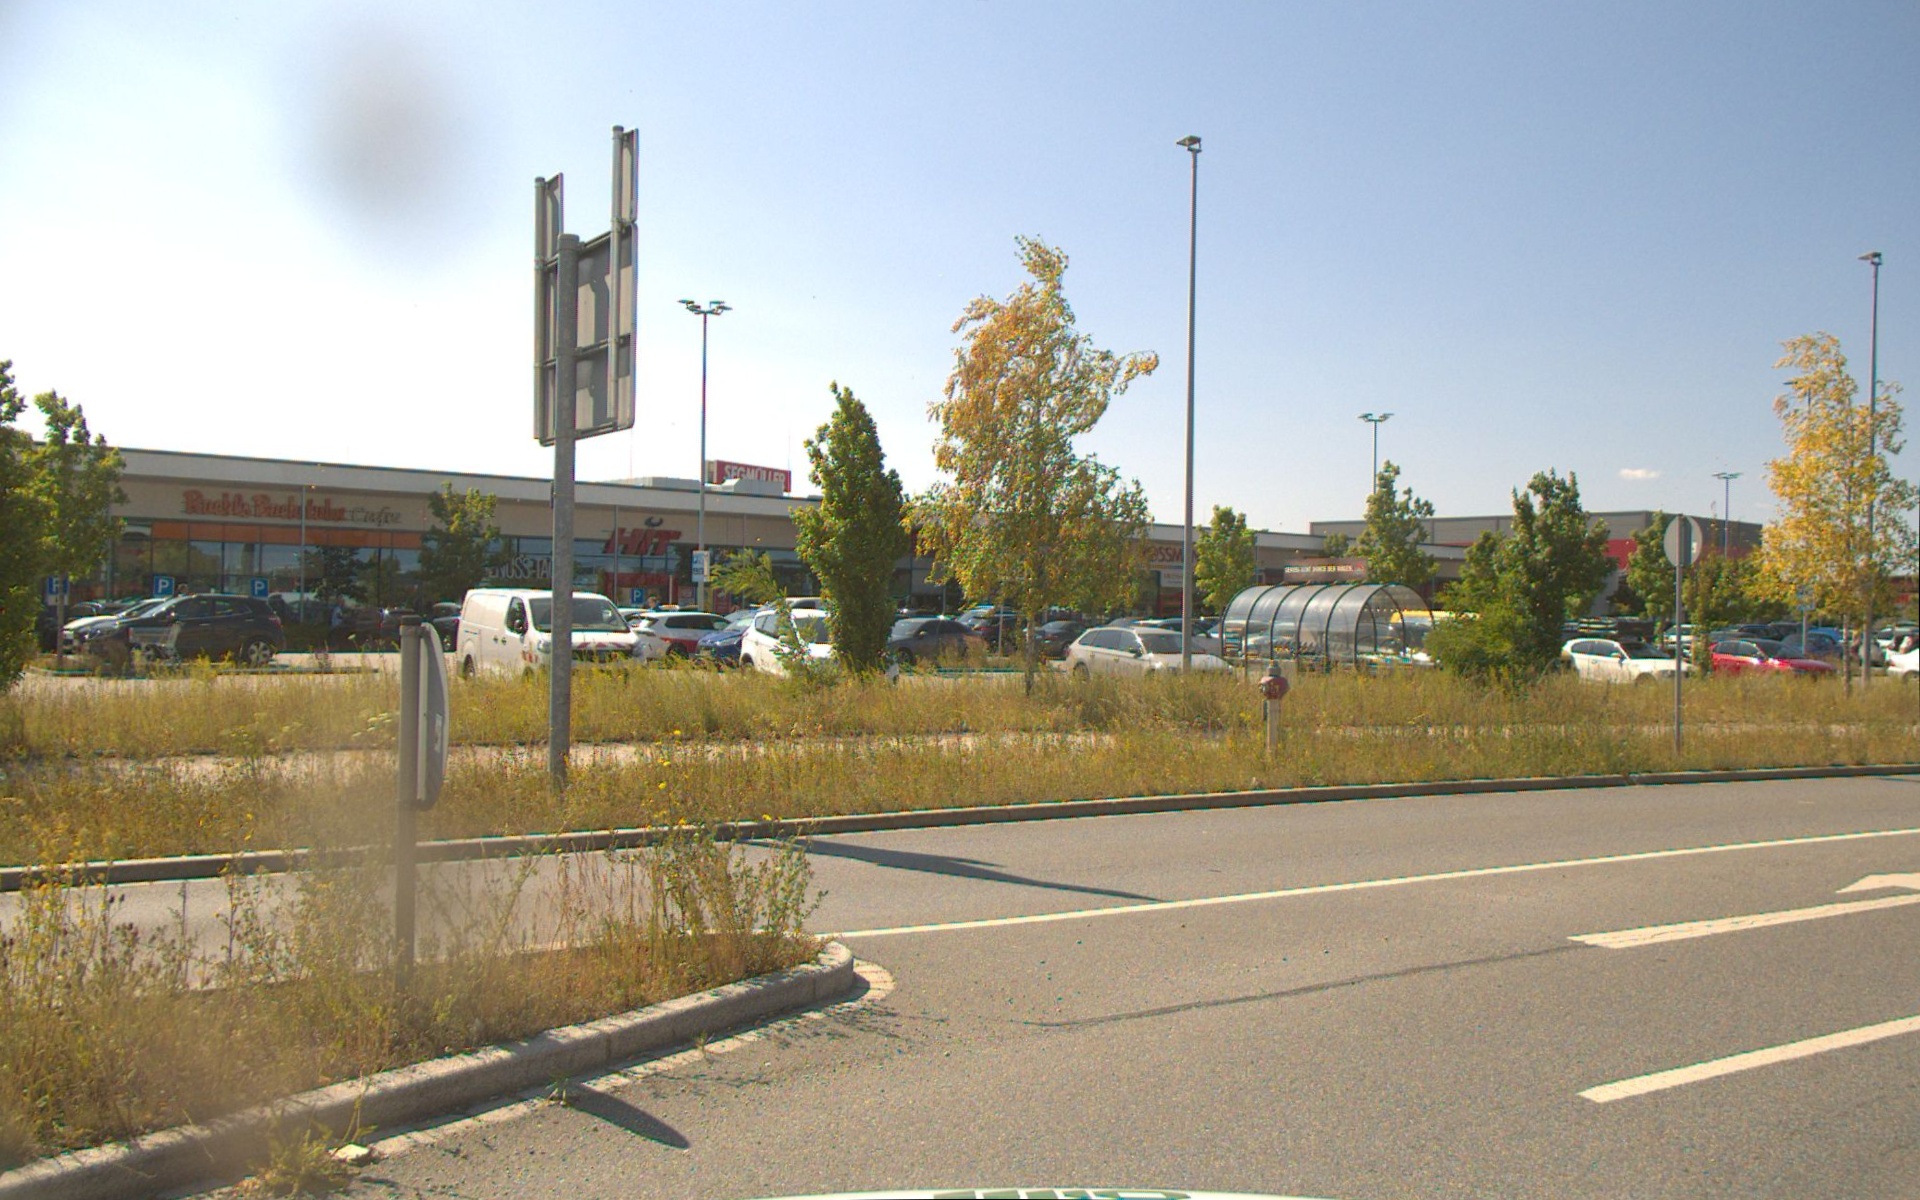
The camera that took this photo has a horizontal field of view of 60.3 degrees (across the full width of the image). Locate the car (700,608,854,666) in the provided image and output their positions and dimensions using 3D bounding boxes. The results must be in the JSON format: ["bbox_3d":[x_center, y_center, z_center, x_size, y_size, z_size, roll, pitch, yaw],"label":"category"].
[{"bbox_3d":[-4.672,0.940,42.462,3.704,1.415,1.704,1,-1,-45],"label":"car"}]

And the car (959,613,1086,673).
[{"bbox_3d":[2.304,1.582,60.686,4.436,2.140,1.974,2,-2,-37],"label":"car"}]

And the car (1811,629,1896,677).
[{"bbox_3d":[40.231,2.385,74.409,4.444,2.073,1.970,2,-2,-41],"label":"car"}]

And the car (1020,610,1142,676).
[{"bbox_3d":[4.309,1.519,58.371,1.965,2.230,4.455,0,-2,43],"label":"car"}]

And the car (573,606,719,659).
[{"bbox_3d":[-8.762,0.899,46.297,3.704,1.415,1.704,1,-1,-45],"label":"car"}]

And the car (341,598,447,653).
[{"bbox_3d":[-18.804,0.821,54.877,1.983,1.737,3.939,1,0,-42],"label":"car"}]

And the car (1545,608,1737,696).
[{"bbox_3d":[17.099,1.270,41.735,1.912,2.049,4.377,2,-1,-24],"label":"car"}]

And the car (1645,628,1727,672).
[{"bbox_3d":[35.080,2.421,79.833,4.444,2.073,1.970,2,-2,-41],"label":"car"}]

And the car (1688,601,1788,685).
[{"bbox_3d":[27.599,1.514,58.602,1.965,2.871,4.455,0,-2,43],"label":"car"}]

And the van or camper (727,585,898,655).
[{"bbox_3d":[-4.466,0.609,50.654,5.002,2.049,1.972,1,-1,-39],"label":"van or camper"}]

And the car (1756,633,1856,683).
[{"bbox_3d":[32.143,2.184,62.804,4.276,1.815,1.970,2,-2,-41],"label":"car"}]

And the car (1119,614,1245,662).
[{"bbox_3d":[7.340,1.262,54.473,4.307,1.547,1.632,2,-2,-39],"label":"car"}]

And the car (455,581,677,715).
[{"bbox_3d":[-6.787,0.752,28.055,2.062,2.049,5.169,1,-1,-33],"label":"car"}]

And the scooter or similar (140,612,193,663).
[{"bbox_3d":[-17.410,0.813,36.268,0.936,1.098,0.644,1,0,-37],"label":"scooter or similar"}]

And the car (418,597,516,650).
[{"bbox_3d":[-16.962,0.771,56.836,1.979,1.737,3.947,1,0,-37],"label":"car"}]

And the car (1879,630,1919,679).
[{"bbox_3d":[42.163,2.374,72.448,4.444,2.073,1.970,2,-2,-41],"label":"car"}]

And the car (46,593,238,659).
[{"bbox_3d":[-22.473,0.744,45.522,4.439,1.736,1.849,2,-2,-38],"label":"car"}]

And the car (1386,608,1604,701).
[{"bbox_3d":[12.649,1.234,39.464,2.129,2.049,5.077,1,0,-24],"label":"car"}]

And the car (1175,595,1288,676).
[{"bbox_3d":[10.028,1.323,60.887,1.965,2.871,4.455,0,-2,43],"label":"car"}]

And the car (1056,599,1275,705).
[{"bbox_3d":[4.203,1.032,34.813,2.132,2.049,5.071,1,-1,-27],"label":"car"}]

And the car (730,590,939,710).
[{"bbox_3d":[-2.461,0.868,30.890,2.132,2.049,5.071,1,-1,-27],"label":"car"}]

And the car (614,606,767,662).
[{"bbox_3d":[-7.102,0.893,43.784,3.704,1.415,1.704,1,-1,-45],"label":"car"}]

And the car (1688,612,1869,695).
[{"bbox_3d":[21.525,1.371,43.654,1.851,2.049,4.111,2,-1,-22],"label":"car"}]

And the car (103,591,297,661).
[{"bbox_3d":[-17.562,0.589,38.316,3.772,1.535,1.706,1,-1,-41],"label":"car"}]

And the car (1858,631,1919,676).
[{"bbox_3d":[44.324,2.512,78.147,4.444,2.073,1.970,2,-2,-41],"label":"car"}]

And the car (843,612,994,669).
[{"bbox_3d":[-1.144,1.142,46.455,3.962,1.534,1.848,2,-2,-40],"label":"car"}]

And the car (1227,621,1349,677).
[{"bbox_3d":[11.650,1.740,58.607,4.444,1.896,1.970,2,-2,-41],"label":"car"}]
